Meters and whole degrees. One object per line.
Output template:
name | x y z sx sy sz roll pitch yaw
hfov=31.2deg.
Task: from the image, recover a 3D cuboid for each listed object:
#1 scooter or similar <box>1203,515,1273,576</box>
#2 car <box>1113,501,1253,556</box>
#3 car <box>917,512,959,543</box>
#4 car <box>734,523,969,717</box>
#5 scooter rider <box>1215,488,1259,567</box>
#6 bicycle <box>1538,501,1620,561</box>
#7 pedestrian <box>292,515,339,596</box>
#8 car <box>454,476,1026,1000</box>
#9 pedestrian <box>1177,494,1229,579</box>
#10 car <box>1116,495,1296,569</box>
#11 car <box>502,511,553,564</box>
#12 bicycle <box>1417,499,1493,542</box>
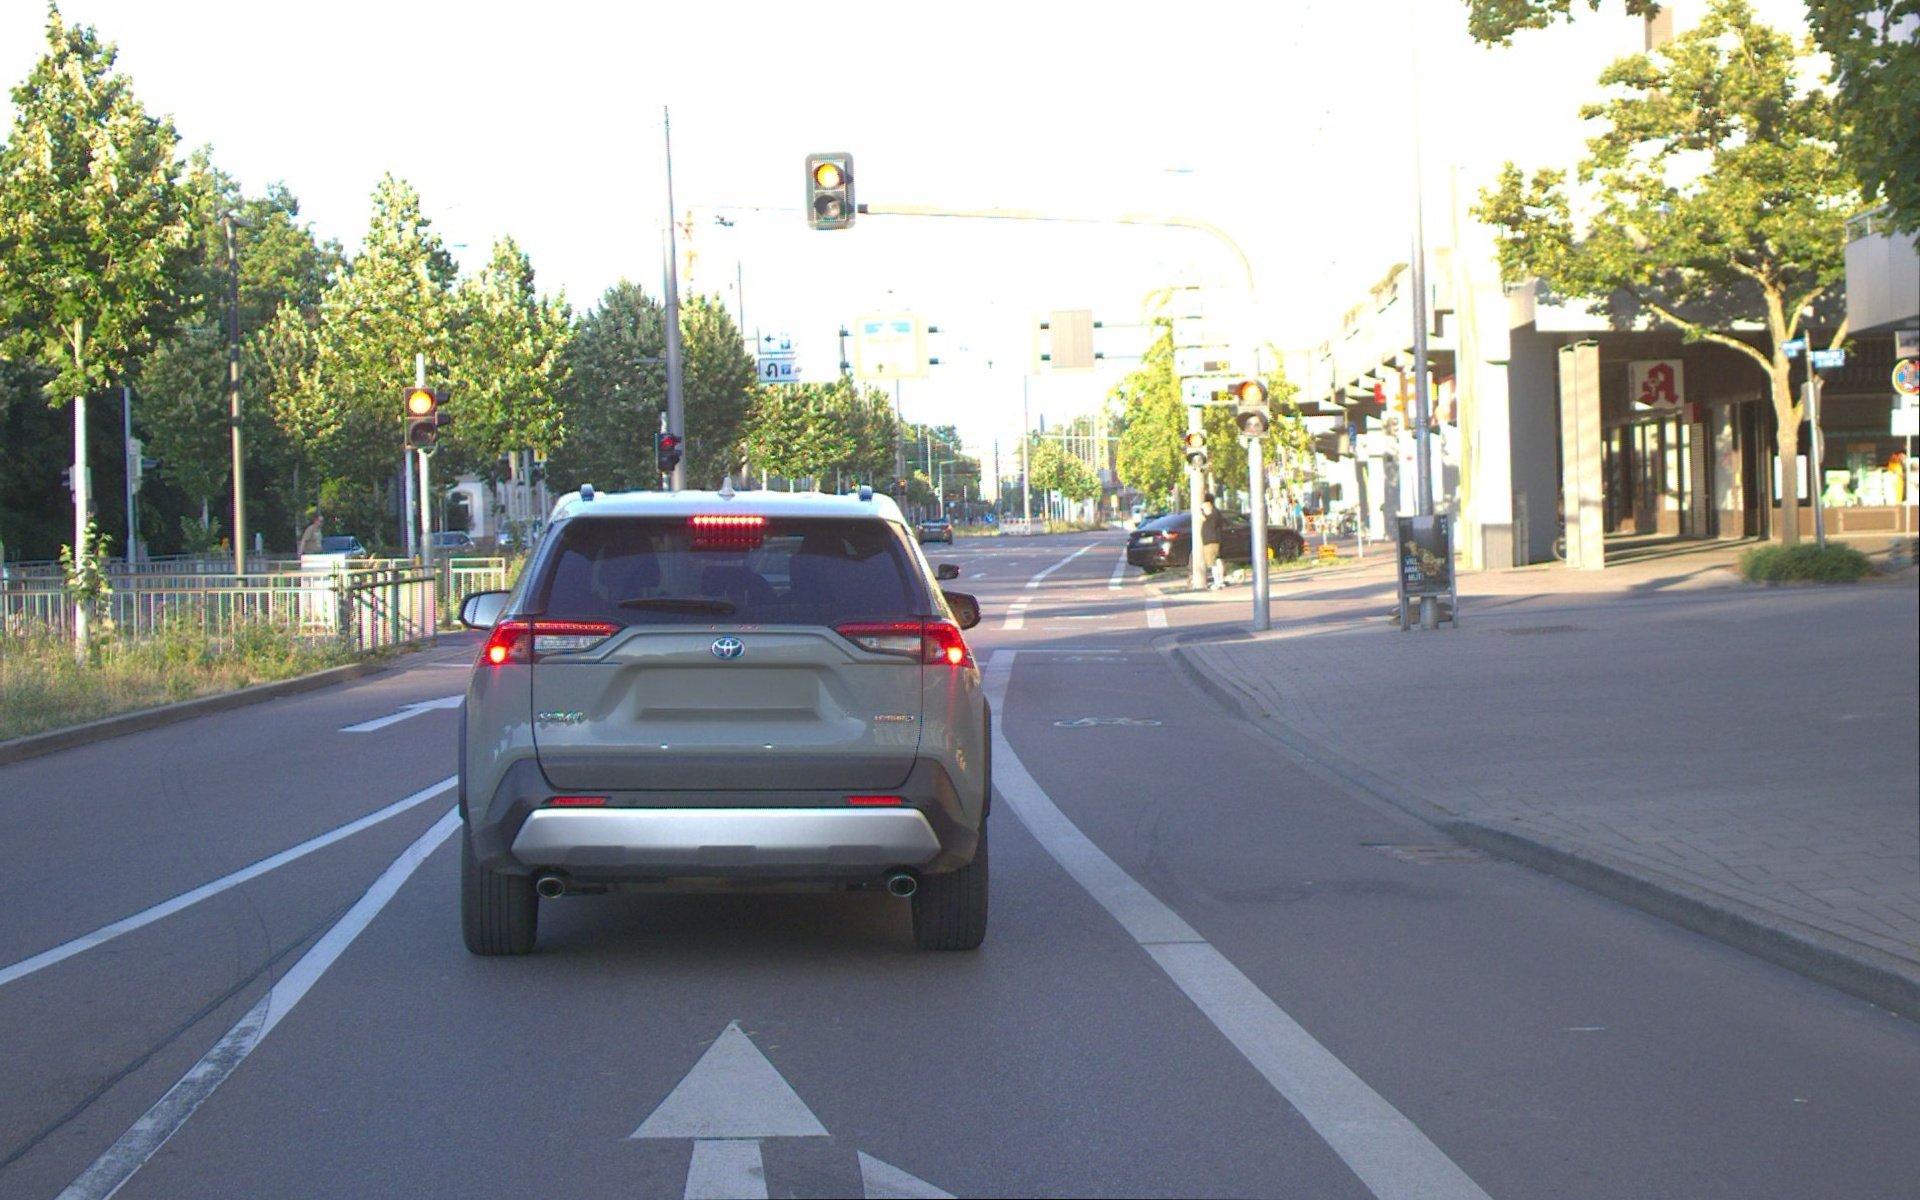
scooter or similar | 5.460 -1.069 67.567 1.329 1.149 0.513 -2 1 3
car | 7.210 -2.330 110.905 4.255 1.653 1.861 -2 3 -34
car | -1.080 -3.667 172.852 1.979 1.428 4.843 0 3 1
car | -0.970 0.115 30.679 1.932 1.476 4.523 0 3 -2
scooter rider | 5.444 -1.427 67.590 0.820 1.509 0.653 -2 1 3
bicycle | 12.057 -1.343 67.006 0.688 1.145 2.023 1 1 -17
pedestrian | -13.816 -0.953 73.748 0.835 1.706 0.648 -2 1 0
car | -0.845 0.374 13.377 1.854 1.653 4.269 0 3 -4
pedestrian | 4.626 -1.211 65.385 0.835 1.581 0.812 -2 1 -4
car | 5.933 -1.660 82.590 4.256 1.653 1.860 -3 3 -41
car | -19.148 -2.788 152.449 1.993 2.160 4.752 -1 3 -4
bicycle | 13.621 -2.187 94.601 2.017 1.145 0.690 1 1 8
